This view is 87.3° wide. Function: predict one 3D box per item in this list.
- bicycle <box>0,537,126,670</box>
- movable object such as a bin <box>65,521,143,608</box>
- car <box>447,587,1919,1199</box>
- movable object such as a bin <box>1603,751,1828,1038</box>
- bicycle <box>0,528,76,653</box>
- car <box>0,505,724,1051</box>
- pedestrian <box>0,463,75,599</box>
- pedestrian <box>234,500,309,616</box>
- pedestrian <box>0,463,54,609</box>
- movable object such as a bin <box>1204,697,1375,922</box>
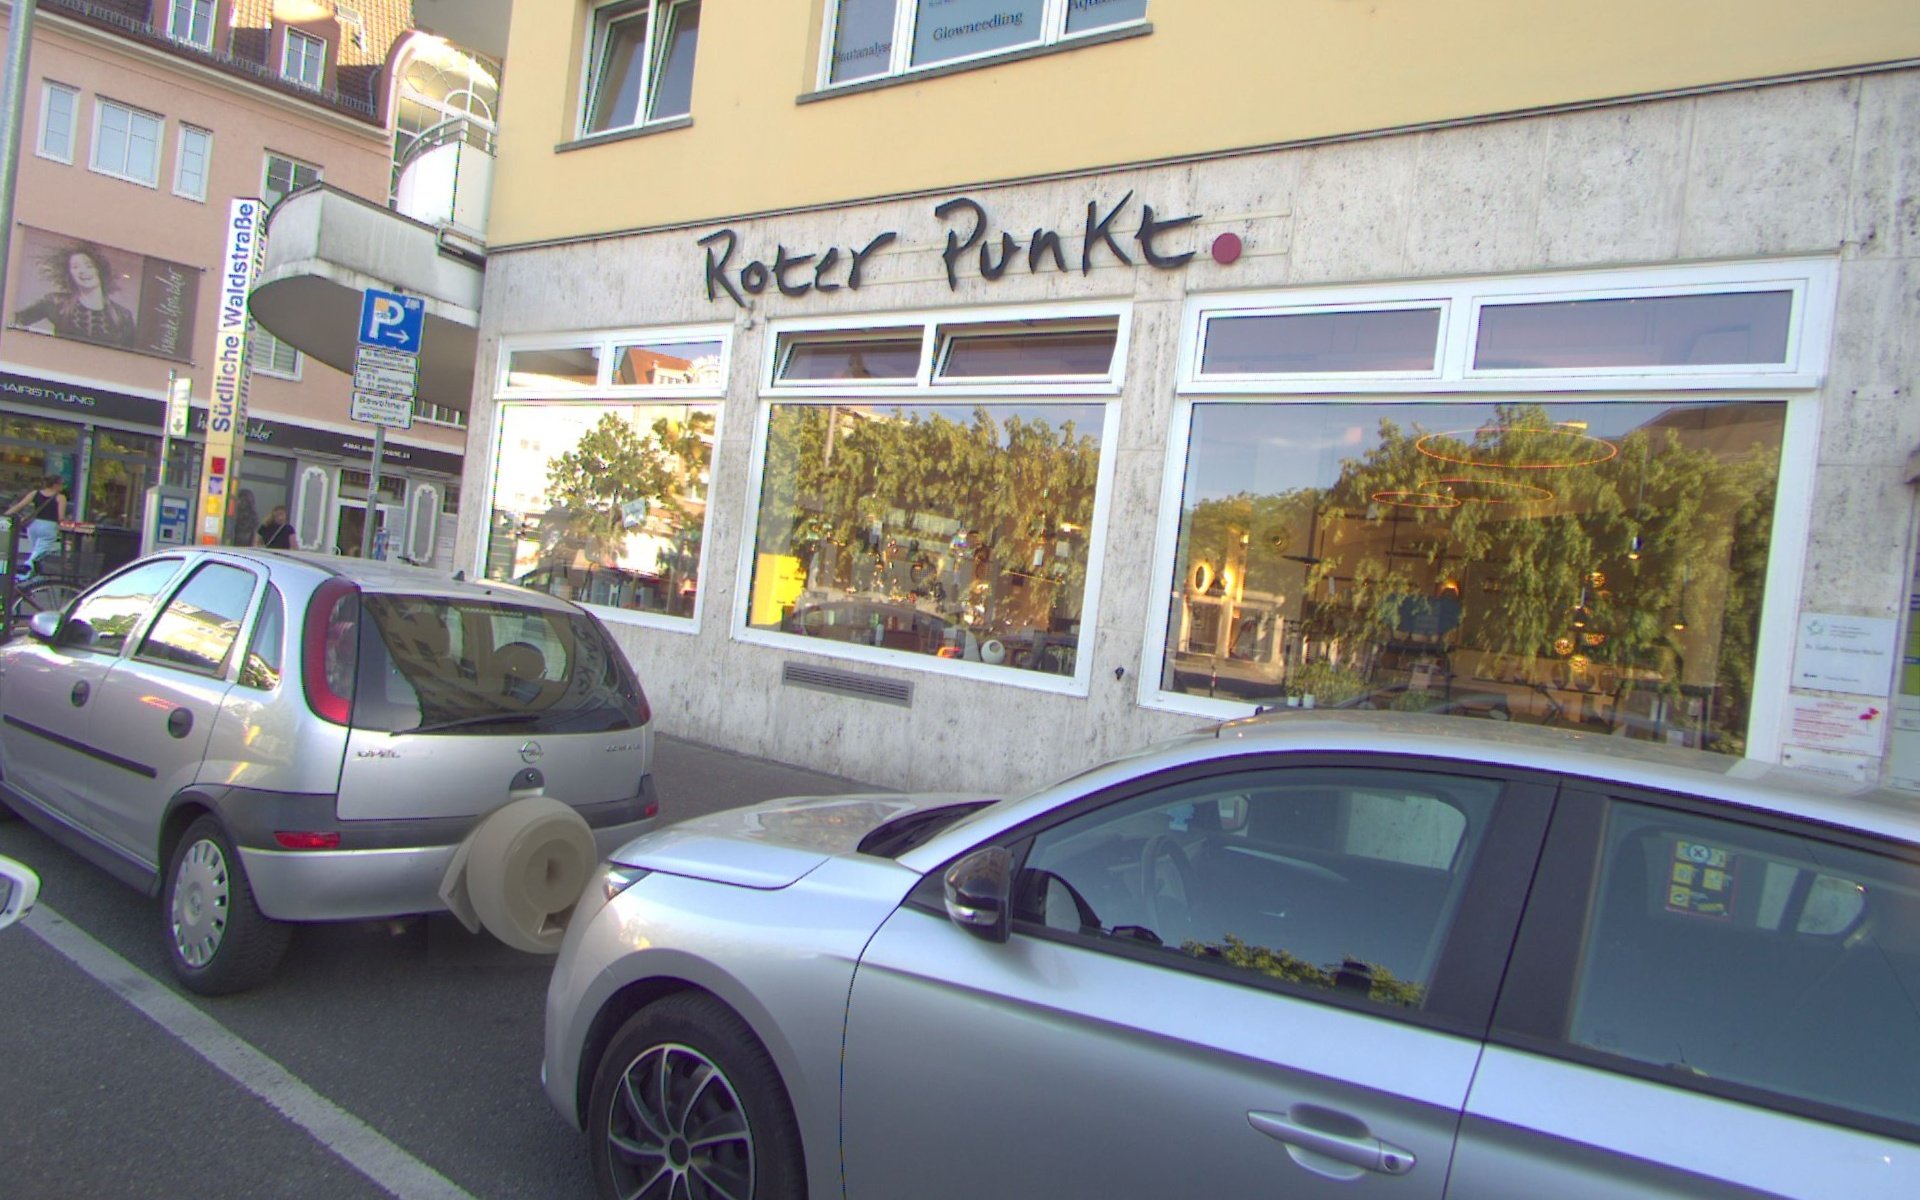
[{"bbox_3d":[-8.174,0.000,8.255,0.642,1.057,1.884,7,0,33],"label":"bicycle"},{"bbox_3d":[-11.966,-0.492,14.067,0.716,1.117,0.636,7,2,35],"label":"movable object such as a bin"},{"bbox_3d":[0.770,0.940,2.283,3.624,1.453,1.587,6,-2,30],"label":"car"},{"bbox_3d":[3.364,1.262,4.548,0.639,1.035,0.738,6,-1,31],"label":"movable object such as a bin"},{"bbox_3d":[-9.065,-0.154,8.800,0.642,1.072,1.816,7,-1,33],"label":"bicycle"},{"bbox_3d":[-2.966,0.480,4.463,3.520,1.443,1.587,6,-2,32],"label":"car"},{"bbox_3d":[-13.390,-0.991,14.508,0.879,1.875,0.680,6,3,33],"label":"pedestrian"},{"bbox_3d":[-11.133,-0.674,16.276,0.776,1.777,0.720,6,2,38],"label":"pedestrian"},{"bbox_3d":[-12.051,-0.830,12.134,1.094,1.739,1.060,7,-1,-9],"label":"pedestrian"},{"bbox_3d":[1.811,1.093,5.481,0.639,1.035,0.738,6,-1,31],"label":"movable object such as a bin"}]
